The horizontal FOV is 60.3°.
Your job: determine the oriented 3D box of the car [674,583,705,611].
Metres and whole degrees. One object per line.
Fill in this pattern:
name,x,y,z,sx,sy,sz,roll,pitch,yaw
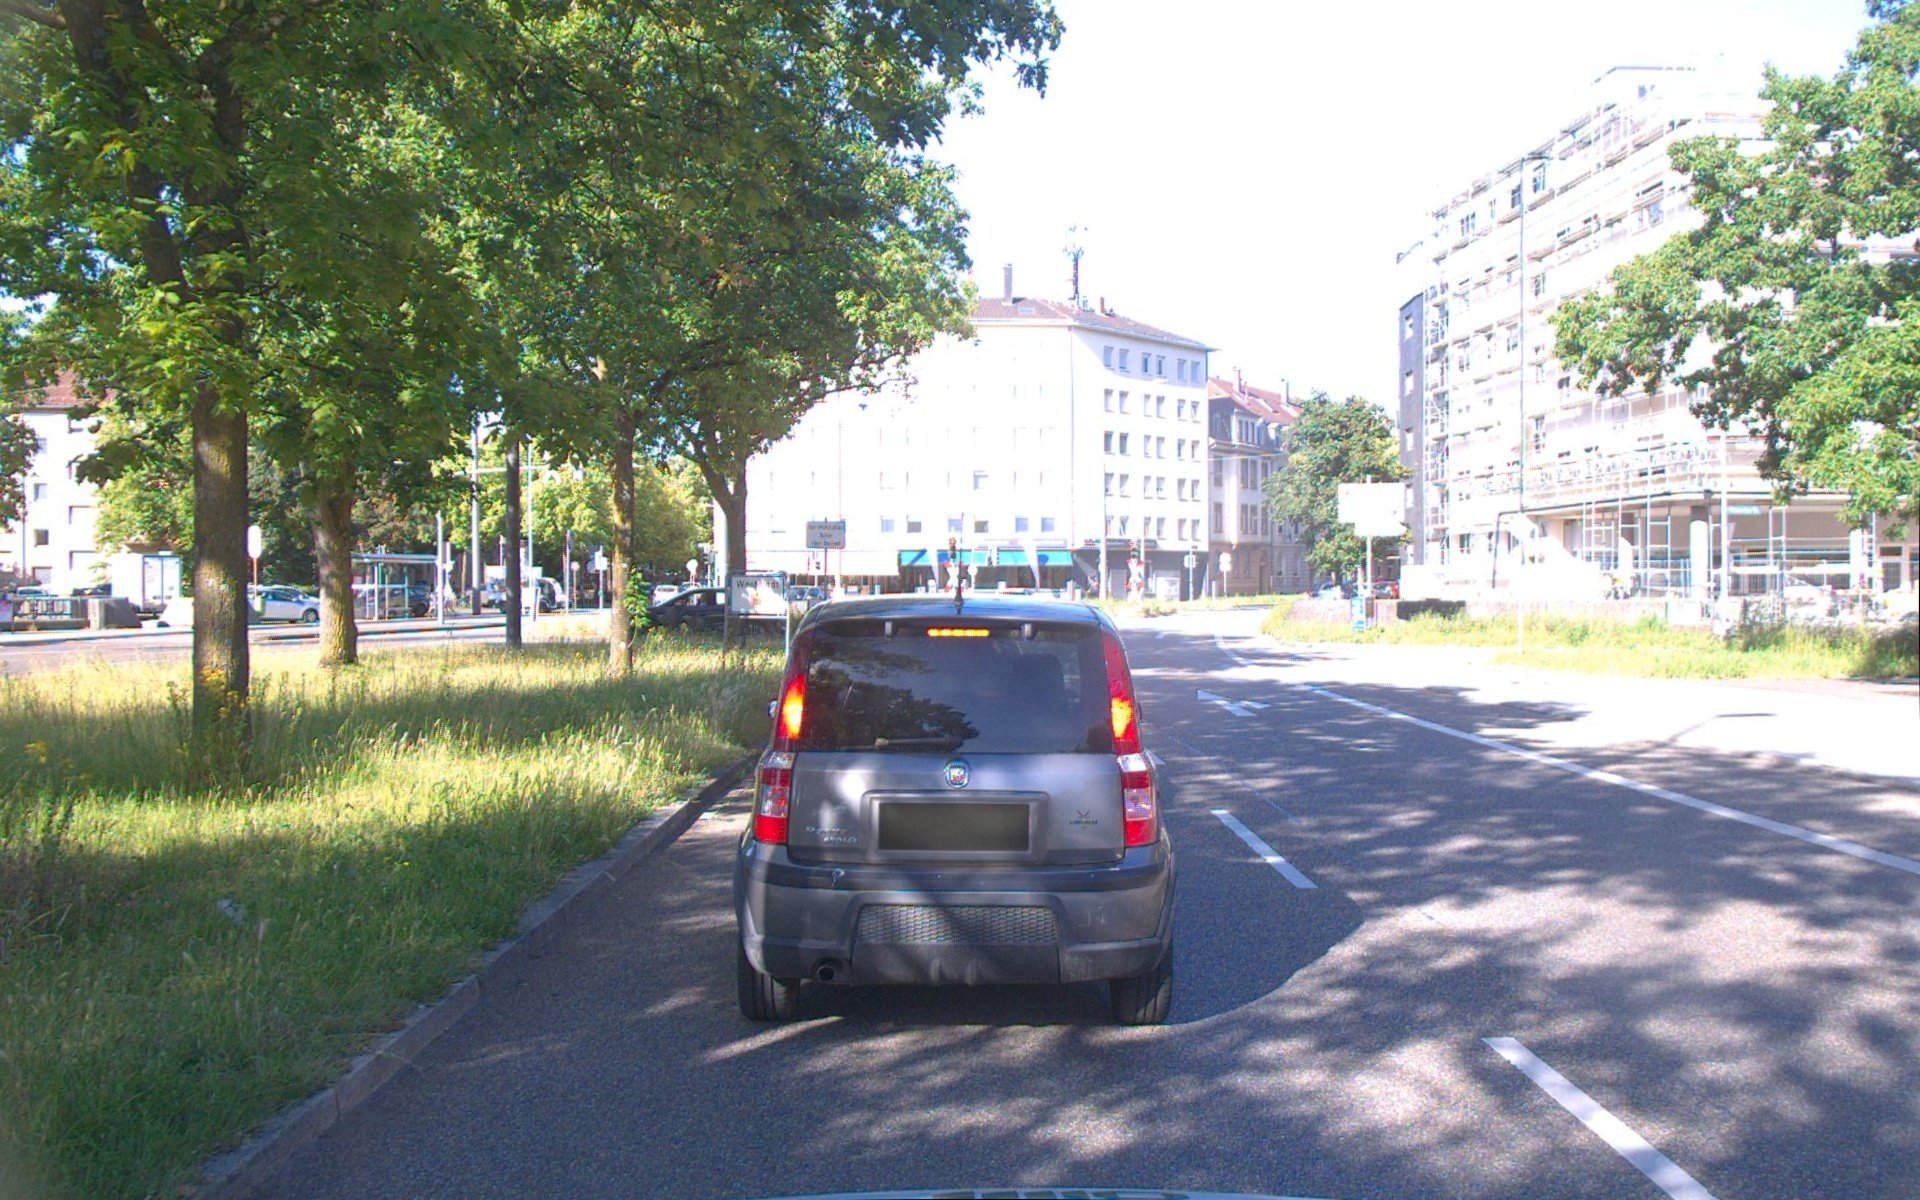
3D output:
car,-20.153,-0.268,123.286,1.954,2.049,3.996,0,1,-5

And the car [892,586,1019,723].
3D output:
car,-0.074,0.606,20.607,1.434,1.534,3.504,0,1,-1

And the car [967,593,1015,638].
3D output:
car,0.917,0.444,49.564,1.328,1.304,2.875,0,1,-1

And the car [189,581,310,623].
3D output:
car,-29.956,0.050,69.785,1.961,1.713,4.302,0,1,38

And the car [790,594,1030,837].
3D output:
car,-0.322,0.685,11.629,1.434,1.425,3.393,0,1,-1

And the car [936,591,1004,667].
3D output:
car,0.175,0.556,33.862,1.328,1.475,3.265,0,0,-1

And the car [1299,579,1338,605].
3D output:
car,21.138,-0.484,97.420,1.648,1.475,3.571,0,1,23

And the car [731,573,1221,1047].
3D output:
car,0.027,0.661,7.413,1.595,1.534,3.999,0,1,-1

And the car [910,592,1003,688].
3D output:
car,-0.083,0.610,27.237,1.434,1.449,3.381,0,1,-1

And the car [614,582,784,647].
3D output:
car,-6.979,0.359,44.085,4.369,1.676,1.826,0,1,-14

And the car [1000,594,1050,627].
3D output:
car,2.282,0.360,57.703,1.118,1.083,2.723,0,1,17

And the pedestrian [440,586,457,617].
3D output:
pedestrian,-23.768,0.067,76.851,0.407,1.415,0.626,0,0,26

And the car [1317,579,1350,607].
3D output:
car,20.504,-0.396,90.713,1.646,1.475,3.574,0,1,15

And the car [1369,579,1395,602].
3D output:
car,27.494,-0.641,107.627,1.495,1.495,3.289,0,1,17

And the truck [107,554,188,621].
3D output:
truck,-35.745,-0.551,72.692,3.932,2.854,1.987,0,1,44

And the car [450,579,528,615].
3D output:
car,-27.769,-0.184,97.628,4.093,2.049,1.930,0,0,-3

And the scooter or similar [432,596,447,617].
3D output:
scooter or similar,-24.008,0.298,76.330,0.411,0.943,0.534,0,0,25

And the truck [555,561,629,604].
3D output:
truck,-28.357,-1.355,127.370,5.371,3.224,2.341,0,0,28

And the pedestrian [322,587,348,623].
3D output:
pedestrian,-29.223,0.229,77.336,0.904,1.636,0.794,0,0,38

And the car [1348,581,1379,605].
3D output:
car,23.010,-0.398,94.243,1.495,1.337,3.289,0,1,17
